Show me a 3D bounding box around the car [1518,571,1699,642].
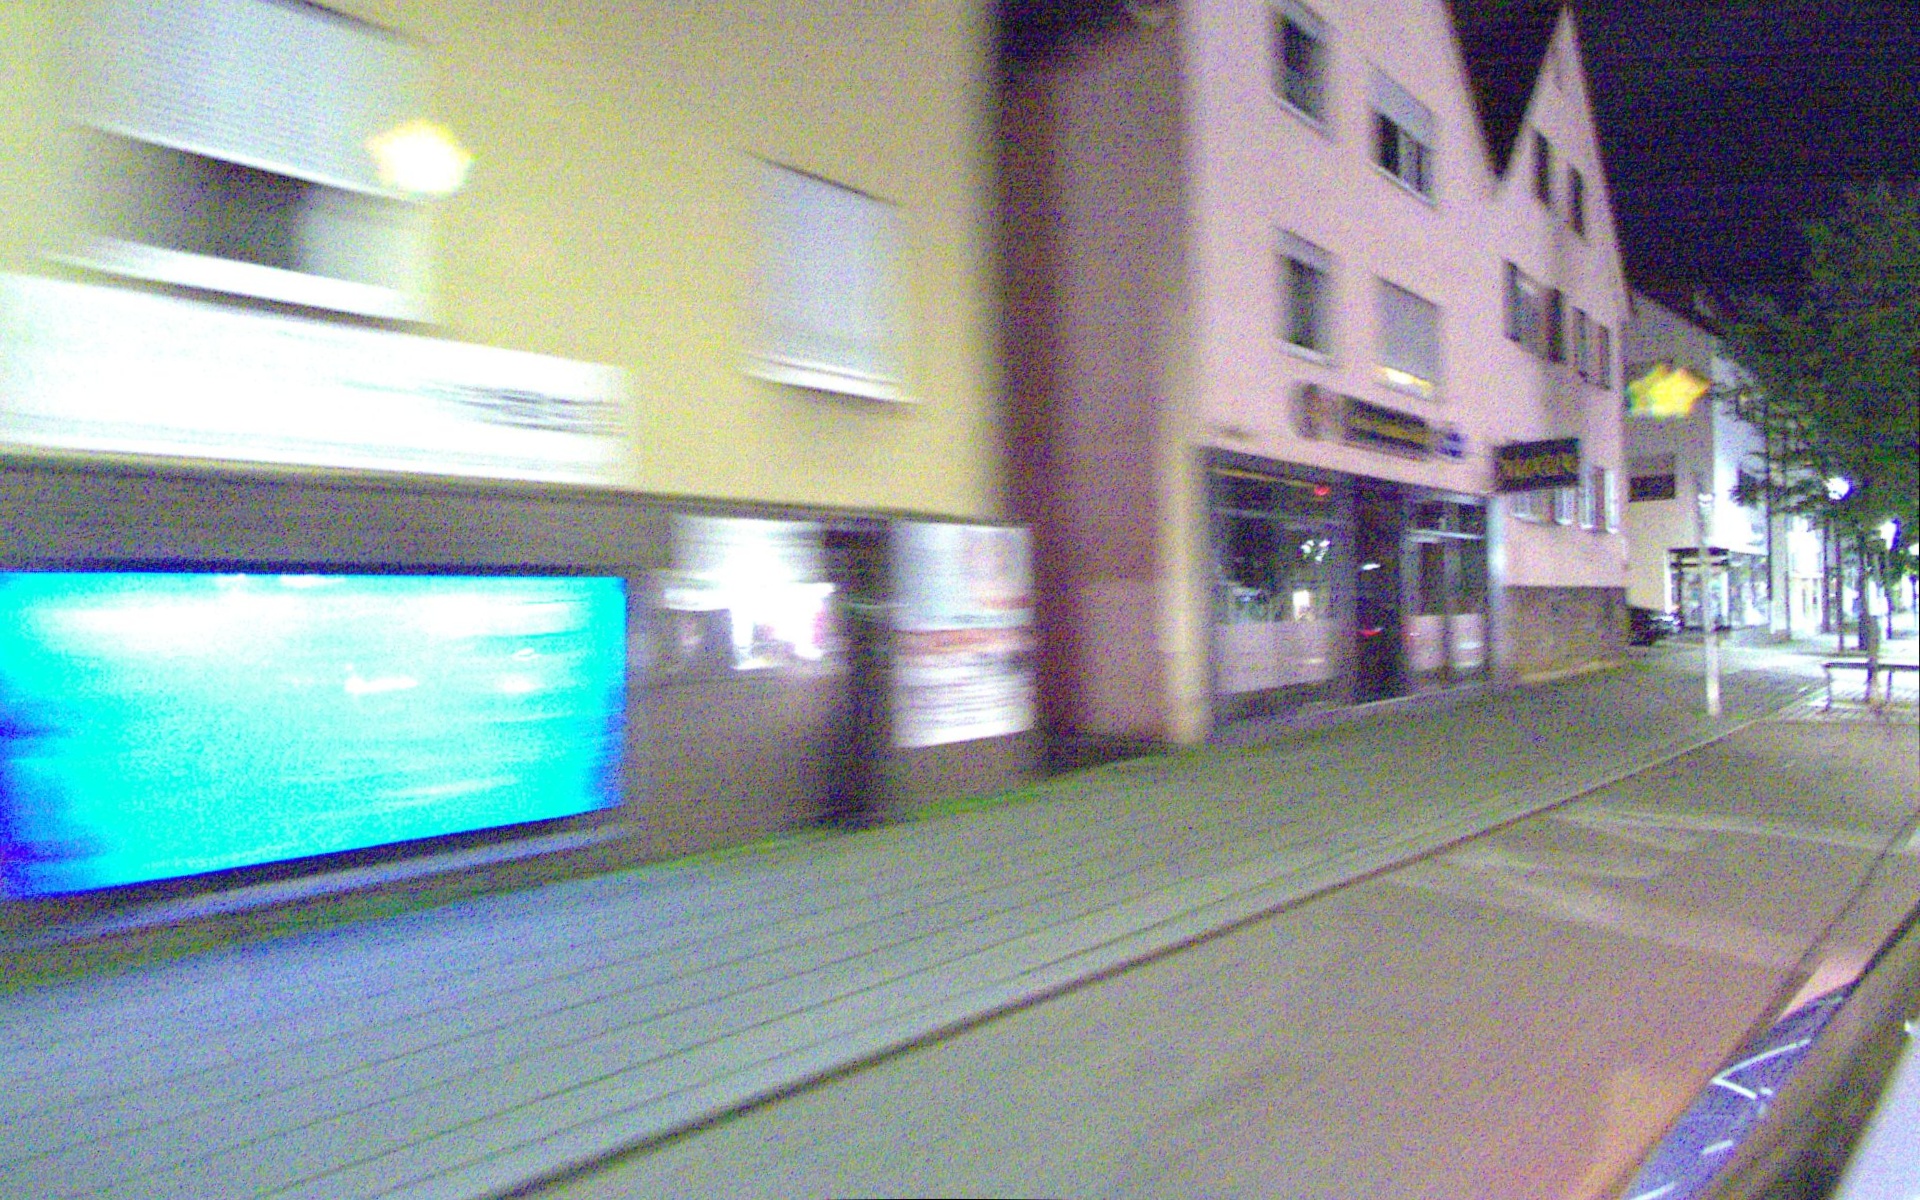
[{"bbox_3d":[18.048,0.141,28.283,1.618,1.606,3.910,1,4,-44],"label":"car"}]
